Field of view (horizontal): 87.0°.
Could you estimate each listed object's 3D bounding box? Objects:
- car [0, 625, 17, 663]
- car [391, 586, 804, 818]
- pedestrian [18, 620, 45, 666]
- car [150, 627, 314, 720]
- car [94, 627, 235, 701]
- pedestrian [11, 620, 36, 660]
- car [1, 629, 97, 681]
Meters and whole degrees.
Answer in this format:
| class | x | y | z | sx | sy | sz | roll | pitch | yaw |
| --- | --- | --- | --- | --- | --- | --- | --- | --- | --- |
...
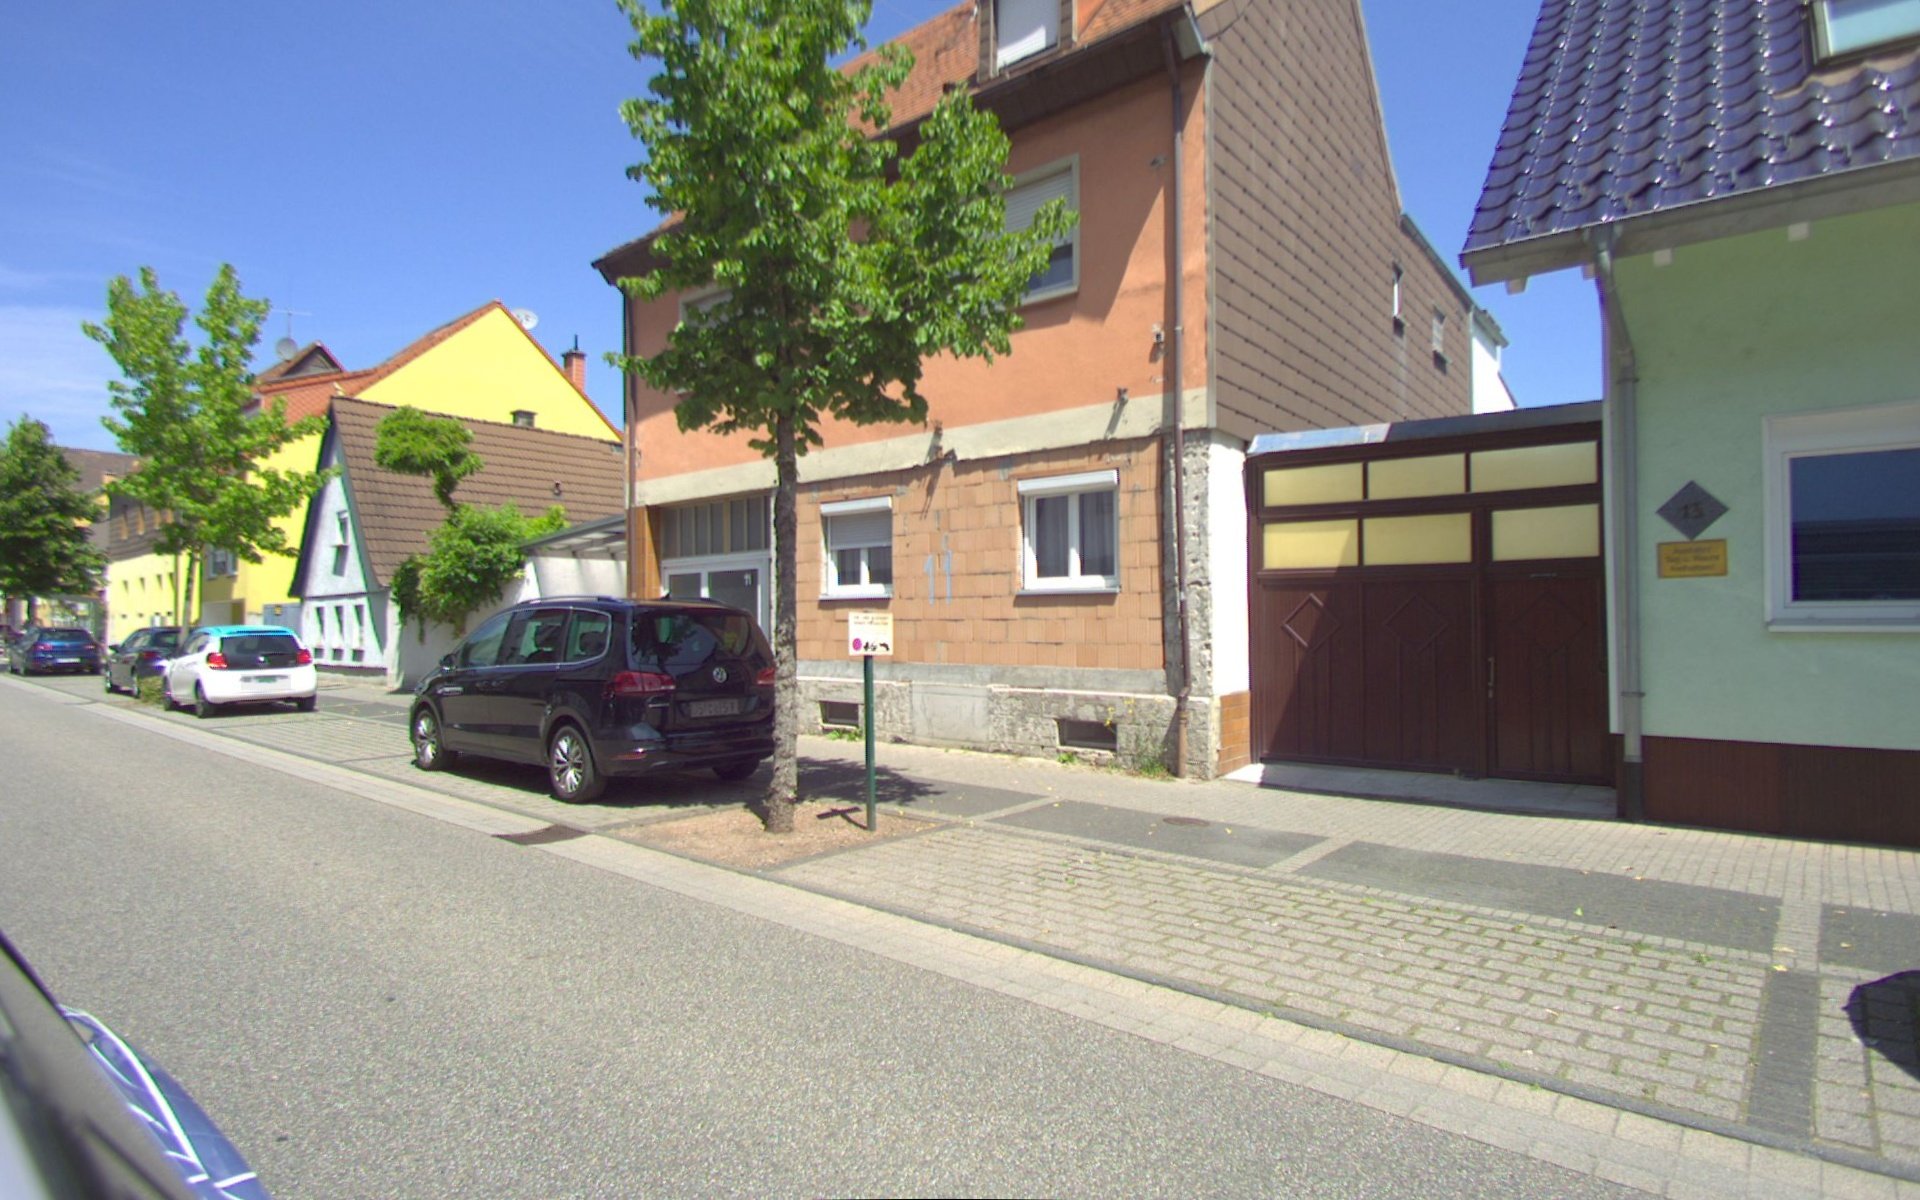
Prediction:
| class | x | y | z | sx | sy | sz | roll | pitch | yaw |
| --- | --- | --- | --- | --- | --- | --- | --- | --- | --- |
| car | -41.438 | 1.859 | 42.919 | 4.156 | 1.587 | 1.730 | -2 | -2 | 41 |
| car | -3.658 | 0.823 | 9.757 | 4.517 | 1.739 | 1.757 | -2 | -2 | 41 |
| pedestrian | -32.666 | 1.498 | 35.598 | 0.528 | 1.614 | 0.623 | -2 | -2 | 41 |
| car | -12.574 | 1.199 | 17.416 | 3.408 | 1.441 | 1.537 | -2 | -3 | 41 |
| car | -17.081 | 1.310 | 21.670 | 4.097 | 1.441 | 1.628 | -2 | -3 | 41 |
| pedestrian | -38.276 | 1.627 | 41.364 | 0.770 | 1.614 | 0.655 | -2 | -2 | 41 |
| car | -27.021 | 1.583 | 29.981 | 4.156 | 1.418 | 1.639 | -2 | -2 | 41 |
